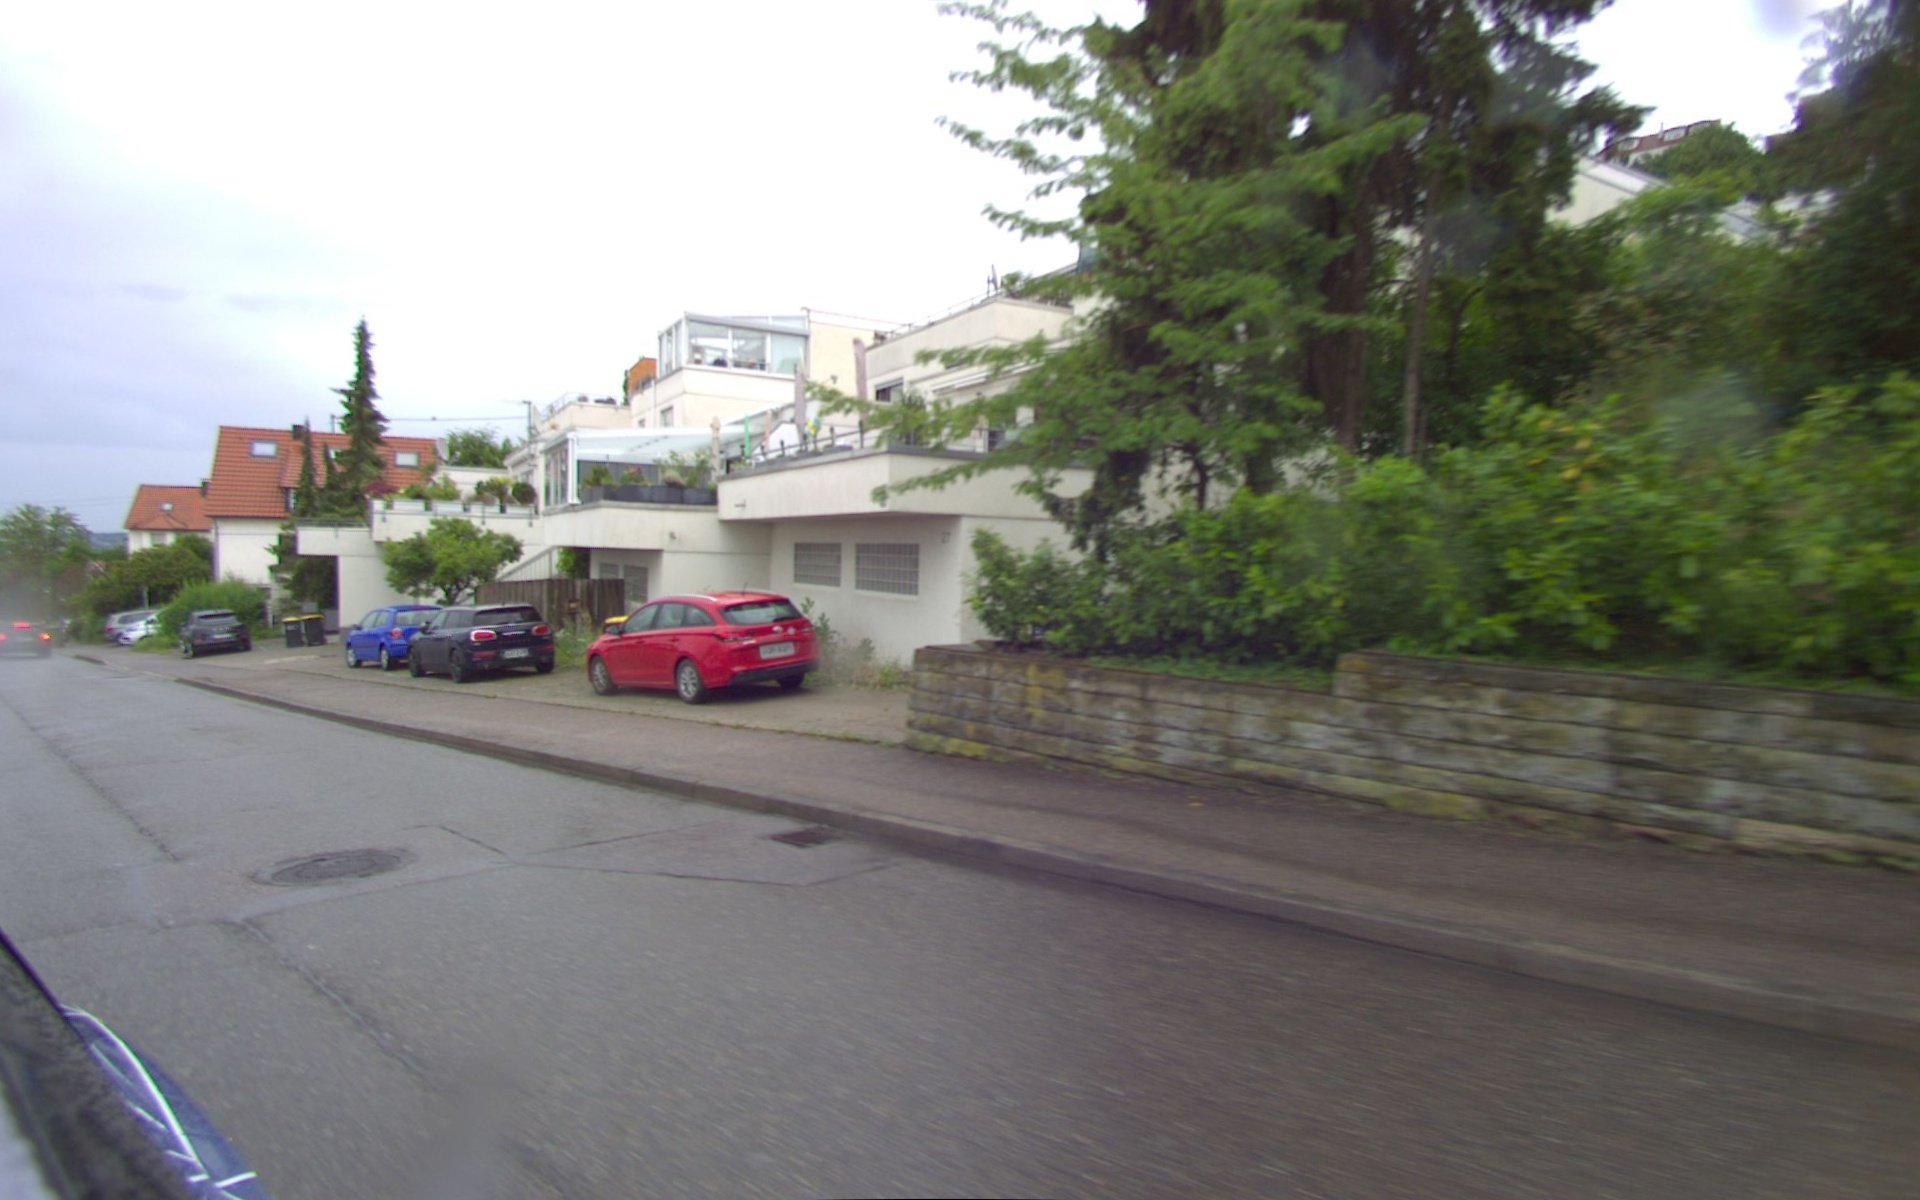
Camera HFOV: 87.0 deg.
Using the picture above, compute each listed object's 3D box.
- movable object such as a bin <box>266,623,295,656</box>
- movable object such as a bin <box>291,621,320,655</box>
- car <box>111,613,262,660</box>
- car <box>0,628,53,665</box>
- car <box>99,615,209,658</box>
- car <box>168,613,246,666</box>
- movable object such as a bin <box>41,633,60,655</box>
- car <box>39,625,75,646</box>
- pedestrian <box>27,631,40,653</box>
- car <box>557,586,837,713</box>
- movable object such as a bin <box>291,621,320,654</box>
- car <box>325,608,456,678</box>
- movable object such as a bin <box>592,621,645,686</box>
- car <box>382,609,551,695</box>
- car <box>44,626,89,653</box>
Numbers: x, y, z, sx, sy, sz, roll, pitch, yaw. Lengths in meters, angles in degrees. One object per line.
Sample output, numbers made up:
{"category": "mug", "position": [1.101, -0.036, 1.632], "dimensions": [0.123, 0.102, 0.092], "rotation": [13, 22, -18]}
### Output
{"category": "movable object such as a bin", "position": [-24.283, 1.410, 36.172], "dimensions": [0.714, 1.078, 0.852], "rotation": [-5, 4, -28]}
{"category": "movable object such as a bin", "position": [-23.123, 1.338, 35.778], "dimensions": [0.714, 1.078, 0.769], "rotation": [-5, 4, -28]}
{"category": "car", "position": [-33.998, 1.572, 44.696], "dimensions": [5.014, 1.959, 2.148], "rotation": [0, -1, -30]}
{"category": "car", "position": [-38.230, 1.869, 41.021], "dimensions": [4.362, 1.448, 1.754], "rotation": [-2, -4, 43]}
{"category": "car", "position": [-39.955, 1.762, 50.297], "dimensions": [4.000, 1.704, 1.899], "rotation": [-5, 2, -33]}
{"category": "car", "position": [-27.585, 1.417, 37.030], "dimensions": [1.670, 1.599, 4.201], "rotation": [-9, 5, -43]}
{"category": "movable object such as a bin", "position": [-46.202, 2.245, 51.418], "dimensions": [0.698, 1.072, 0.596], "rotation": [-2, 0, 40]}
{"category": "car", "position": [-66.722, 2.606, 74.828], "dimensions": [1.744, 1.386, 4.255], "rotation": [-4, 2, -39]}
{"category": "pedestrian", "position": [-69.614, 3.132, 76.045], "dimensions": [0.708, 1.647, 0.707], "rotation": [1, -2, -45]}
{"category": "car", "position": [-3.982, 0.664, 14.810], "dimensions": [4.589, 1.447, 1.755], "rotation": [-2, 4, 44]}
{"category": "movable object such as a bin", "position": [-23.563, 1.352, 36.448], "dimensions": [0.714, 1.078, 0.769], "rotation": [-5, 4, -28]}
{"category": "car", "position": [-13.835, 1.026, 24.497], "dimensions": [3.959, 1.444, 1.590], "rotation": [-2, 2, 43]}
{"category": "movable object such as a bin", "position": [-5.998, 0.929, 17.773], "dimensions": [0.632, 1.092, 0.753], "rotation": [-1, 0, -40]}
{"category": "car", "position": [-9.899, 0.987, 20.155], "dimensions": [4.240, 1.406, 1.615], "rotation": [-2, 3, 44]}
{"category": "car", "position": [-56.824, 2.472, 64.328], "dimensions": [4.419, 1.609, 1.783], "rotation": [-1, -1, 44]}
